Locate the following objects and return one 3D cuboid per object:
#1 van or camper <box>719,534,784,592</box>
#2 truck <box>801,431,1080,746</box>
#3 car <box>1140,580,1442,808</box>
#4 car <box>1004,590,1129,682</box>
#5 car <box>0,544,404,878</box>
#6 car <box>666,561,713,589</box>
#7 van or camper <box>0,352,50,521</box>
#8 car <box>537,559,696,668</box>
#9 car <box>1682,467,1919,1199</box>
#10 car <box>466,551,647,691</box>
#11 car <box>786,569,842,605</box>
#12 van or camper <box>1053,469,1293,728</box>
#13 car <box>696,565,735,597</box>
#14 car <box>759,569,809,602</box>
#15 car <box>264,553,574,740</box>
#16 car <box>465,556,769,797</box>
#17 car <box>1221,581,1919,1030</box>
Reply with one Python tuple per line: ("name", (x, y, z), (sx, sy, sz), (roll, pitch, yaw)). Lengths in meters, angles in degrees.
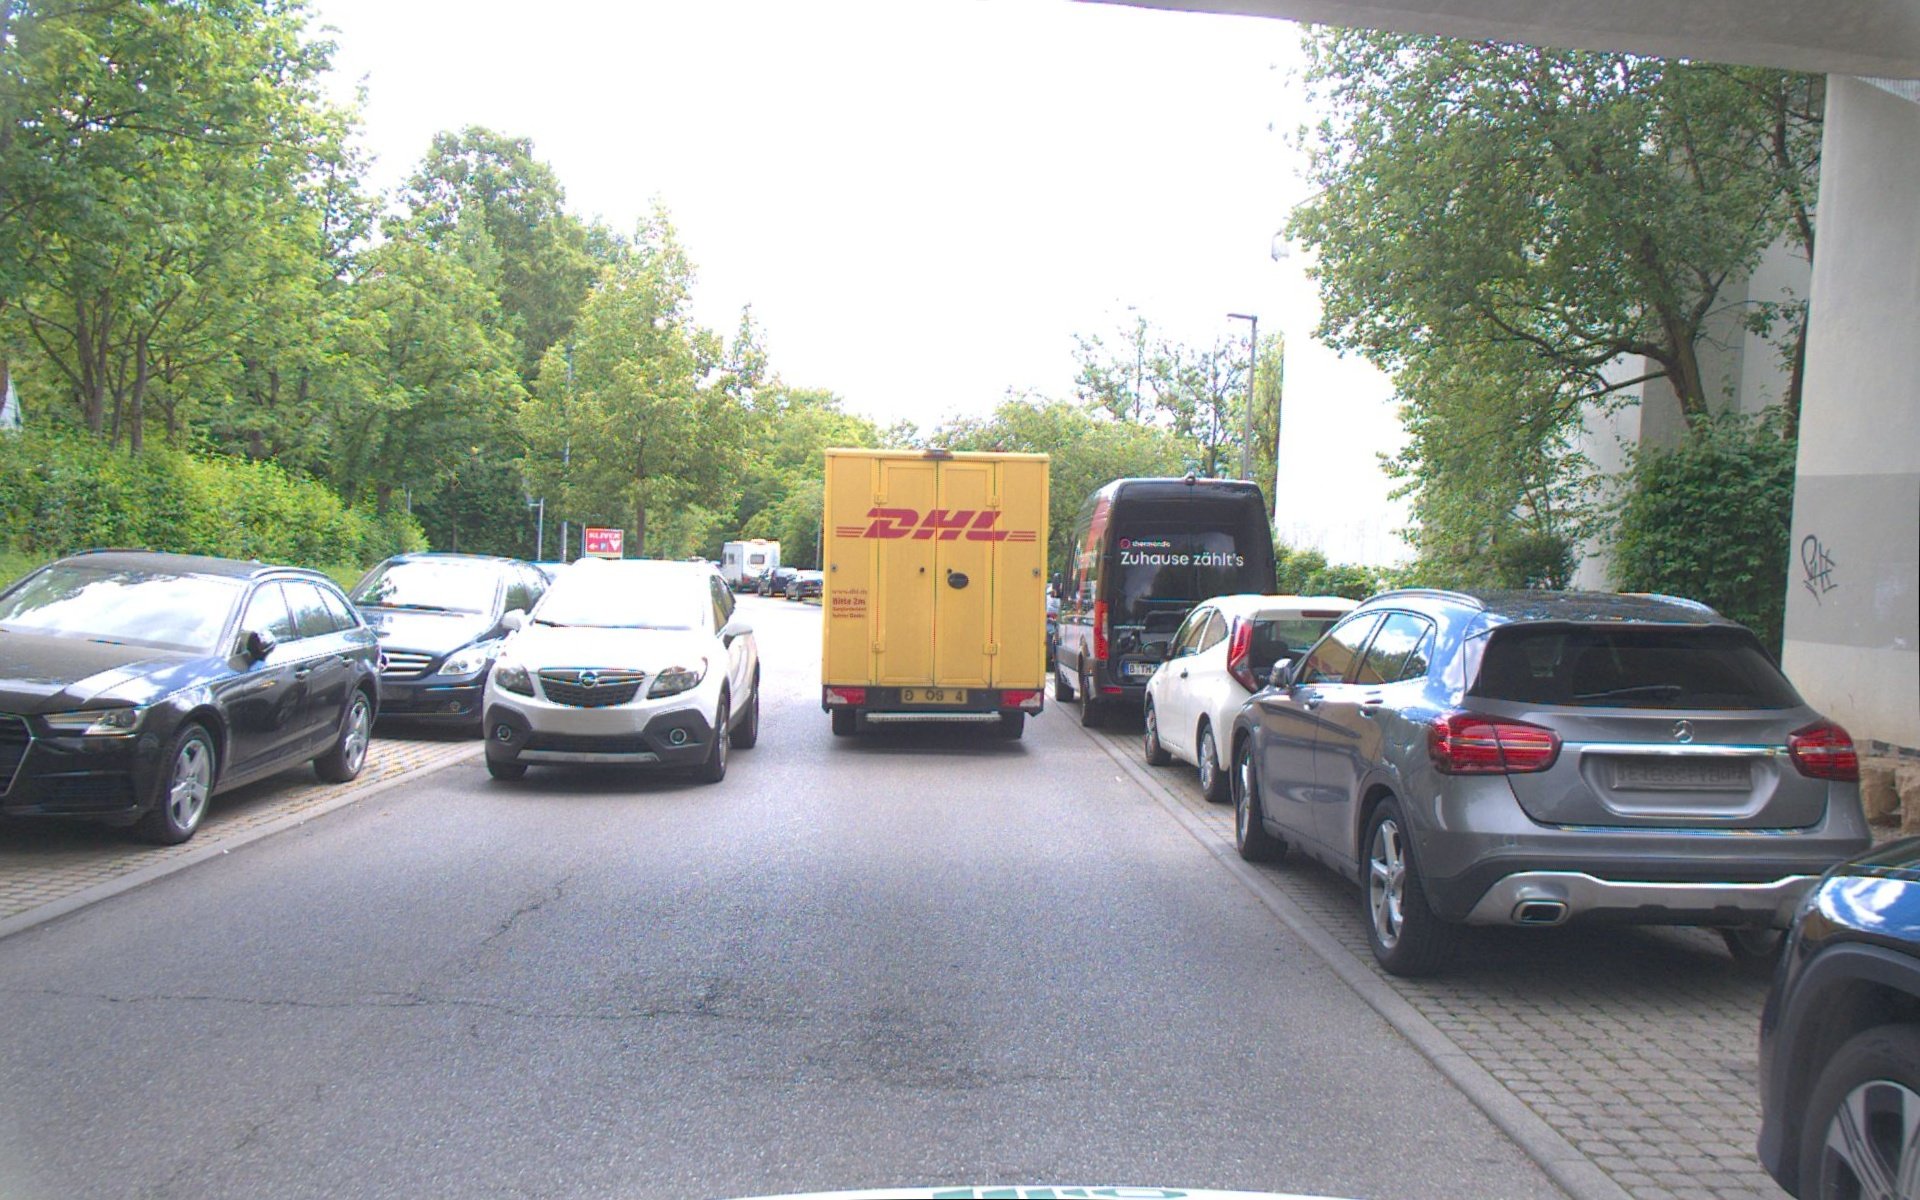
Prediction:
("van or camper", (-11.951, -2.130, 94.589), (2.291, 2.920, 5.228), (2, 3, -22))
("truck", (-0.330, -0.154, 18.119), (2.417, 2.749, 6.821), (1, 1, -3))
("car", (2.457, 0.630, 13.026), (1.531, 1.522, 3.329), (1, 1, -3))
("car", (1.838, 0.597, 29.613), (1.694, 1.458, 3.966), (3, 0, -3))
("car", (-4.923, 0.479, 10.046), (1.848, 1.535, 4.448), (3, 1, -5))
("car", (-17.497, -1.638, 106.870), (1.821, 1.556, 3.967), (2, 2, -27))
("van or camper", (-14.481, -2.187, 20.886), (4.761, 2.121, 1.998), (3, 2, -7))
("car", (-5.196, 0.164, 25.508), (1.641, 1.461, 3.969), (3, 1, -1))
("car", (2.647, 0.666, 1.619), (1.777, 1.707, 4.368), (1, 1, -3))
("car", (-4.906, 0.226, 20.396), (1.497, 1.532, 2.713), (3, 1, 0))
("car", (-7.147, -0.653, 80.852), (1.815, 1.556, 3.981), (2, 2, -18))
("van or camper", (2.268, -0.034, 19.161), (1.953, 2.567, 5.469), (0, 0, -1))
("car", (-11.624, -0.926, 78.797), (1.642, 1.378, 3.964), (3, 1, -6))
("car", (-9.406, -0.786, 87.948), (1.815, 1.556, 3.981), (2, 2, -18))
("car", (-5.048, 0.367, 15.990), (1.847, 1.586, 3.836), (0, 1, -2))
("car", (-2.616, 0.491, 13.514), (1.712, 1.639, 4.051), (1, 1, -2))
("car", (2.466, 0.696, 7.809), (1.665, 1.522, 4.117), (2, 1, -2))
